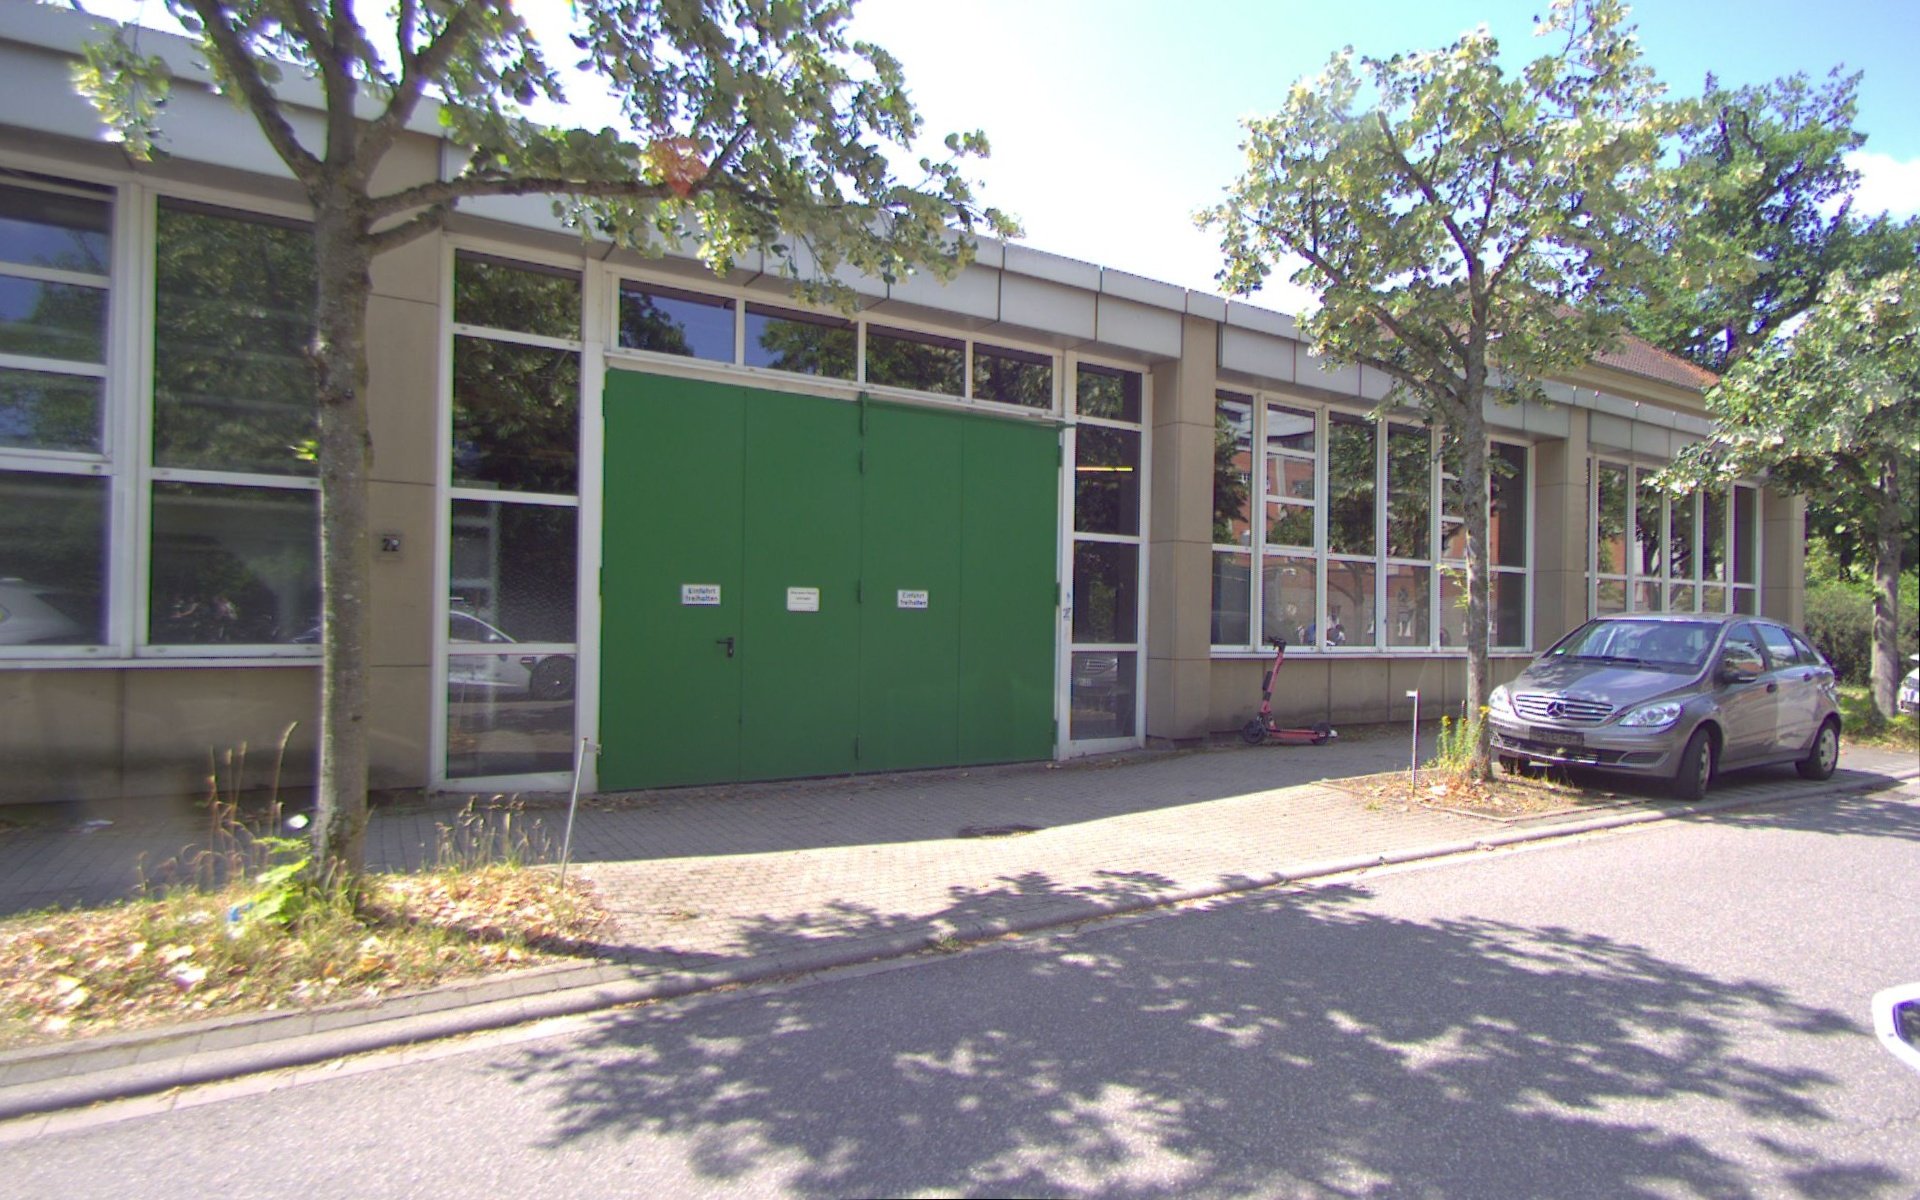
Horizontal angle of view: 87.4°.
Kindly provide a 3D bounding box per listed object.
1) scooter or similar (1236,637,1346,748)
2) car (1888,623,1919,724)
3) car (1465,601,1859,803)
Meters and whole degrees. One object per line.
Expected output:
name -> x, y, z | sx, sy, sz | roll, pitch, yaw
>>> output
scooter or similar -> 3.799, 1.035, 11.509 | 1.201, 1.185, 0.503 | 1, 1, -31
car -> 16.481, 1.180, 15.750 | 4.533, 1.476, 1.715 | 2, 1, -33
car -> 7.011, 0.876, 9.933 | 4.069, 1.577, 1.747 | 2, 1, -33
